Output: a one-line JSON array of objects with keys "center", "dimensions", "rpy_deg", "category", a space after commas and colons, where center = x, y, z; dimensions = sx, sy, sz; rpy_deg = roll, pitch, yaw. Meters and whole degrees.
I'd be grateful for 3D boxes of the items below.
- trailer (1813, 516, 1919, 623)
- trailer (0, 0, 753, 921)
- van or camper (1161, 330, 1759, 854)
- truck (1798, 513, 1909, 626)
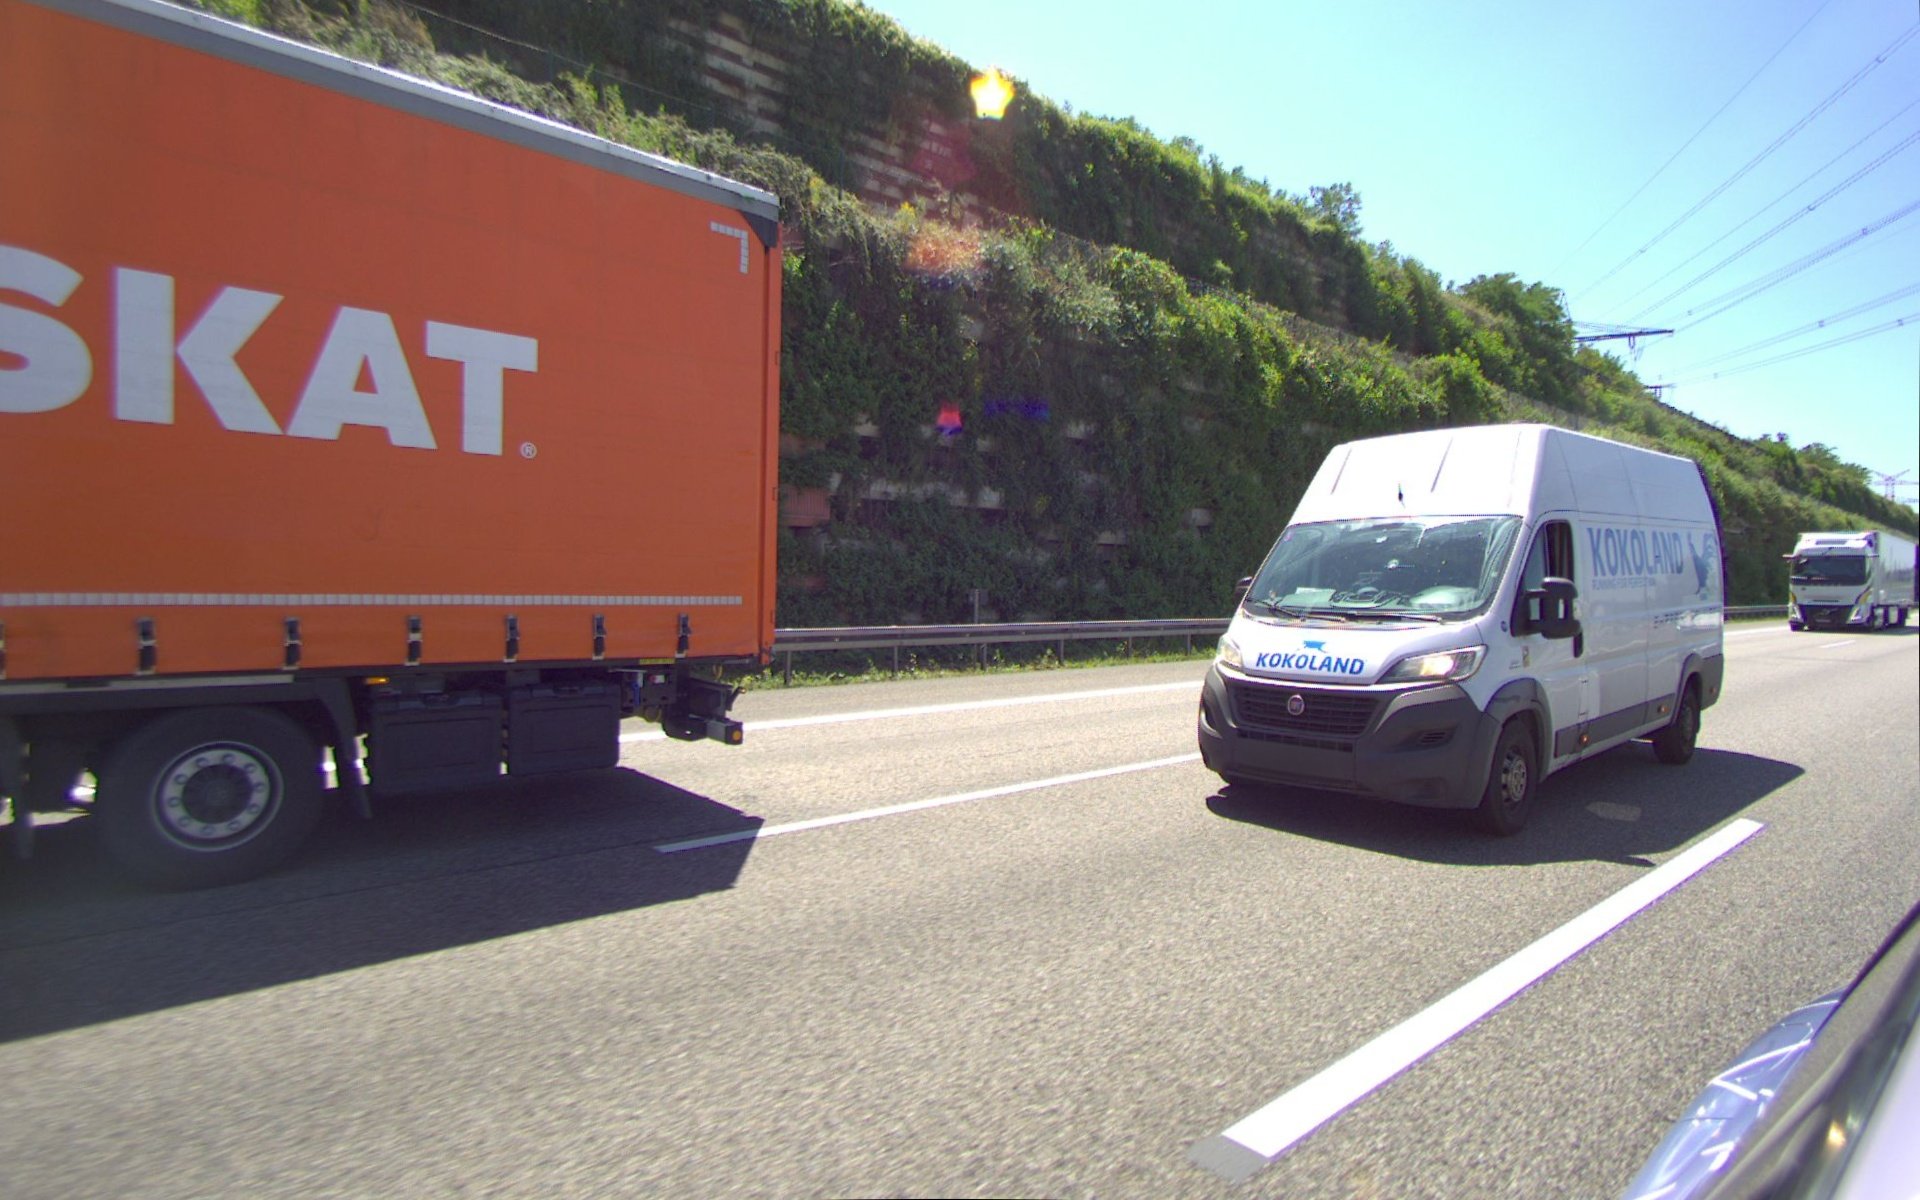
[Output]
[{"center": [42.686, -1.279, 46.796], "dimensions": [16.733, 4.264, 2.519], "rpy_deg": [0, 1, -42], "category": "trailer"}, {"center": [-7.215, -0.717, 3.024], "dimensions": [13.368, 4.055, 2.650], "rpy_deg": [0, 1, -41], "category": "trailer"}, {"center": [4.576, -0.084, 8.419], "dimensions": [6.640, 2.803, 2.100], "rpy_deg": [0, 1, -42], "category": "van or camper"}, {"center": [36.381, -1.222, 41.138], "dimensions": [6.147, 4.272, 2.512], "rpy_deg": [-1, 2, -41], "category": "truck"}]
